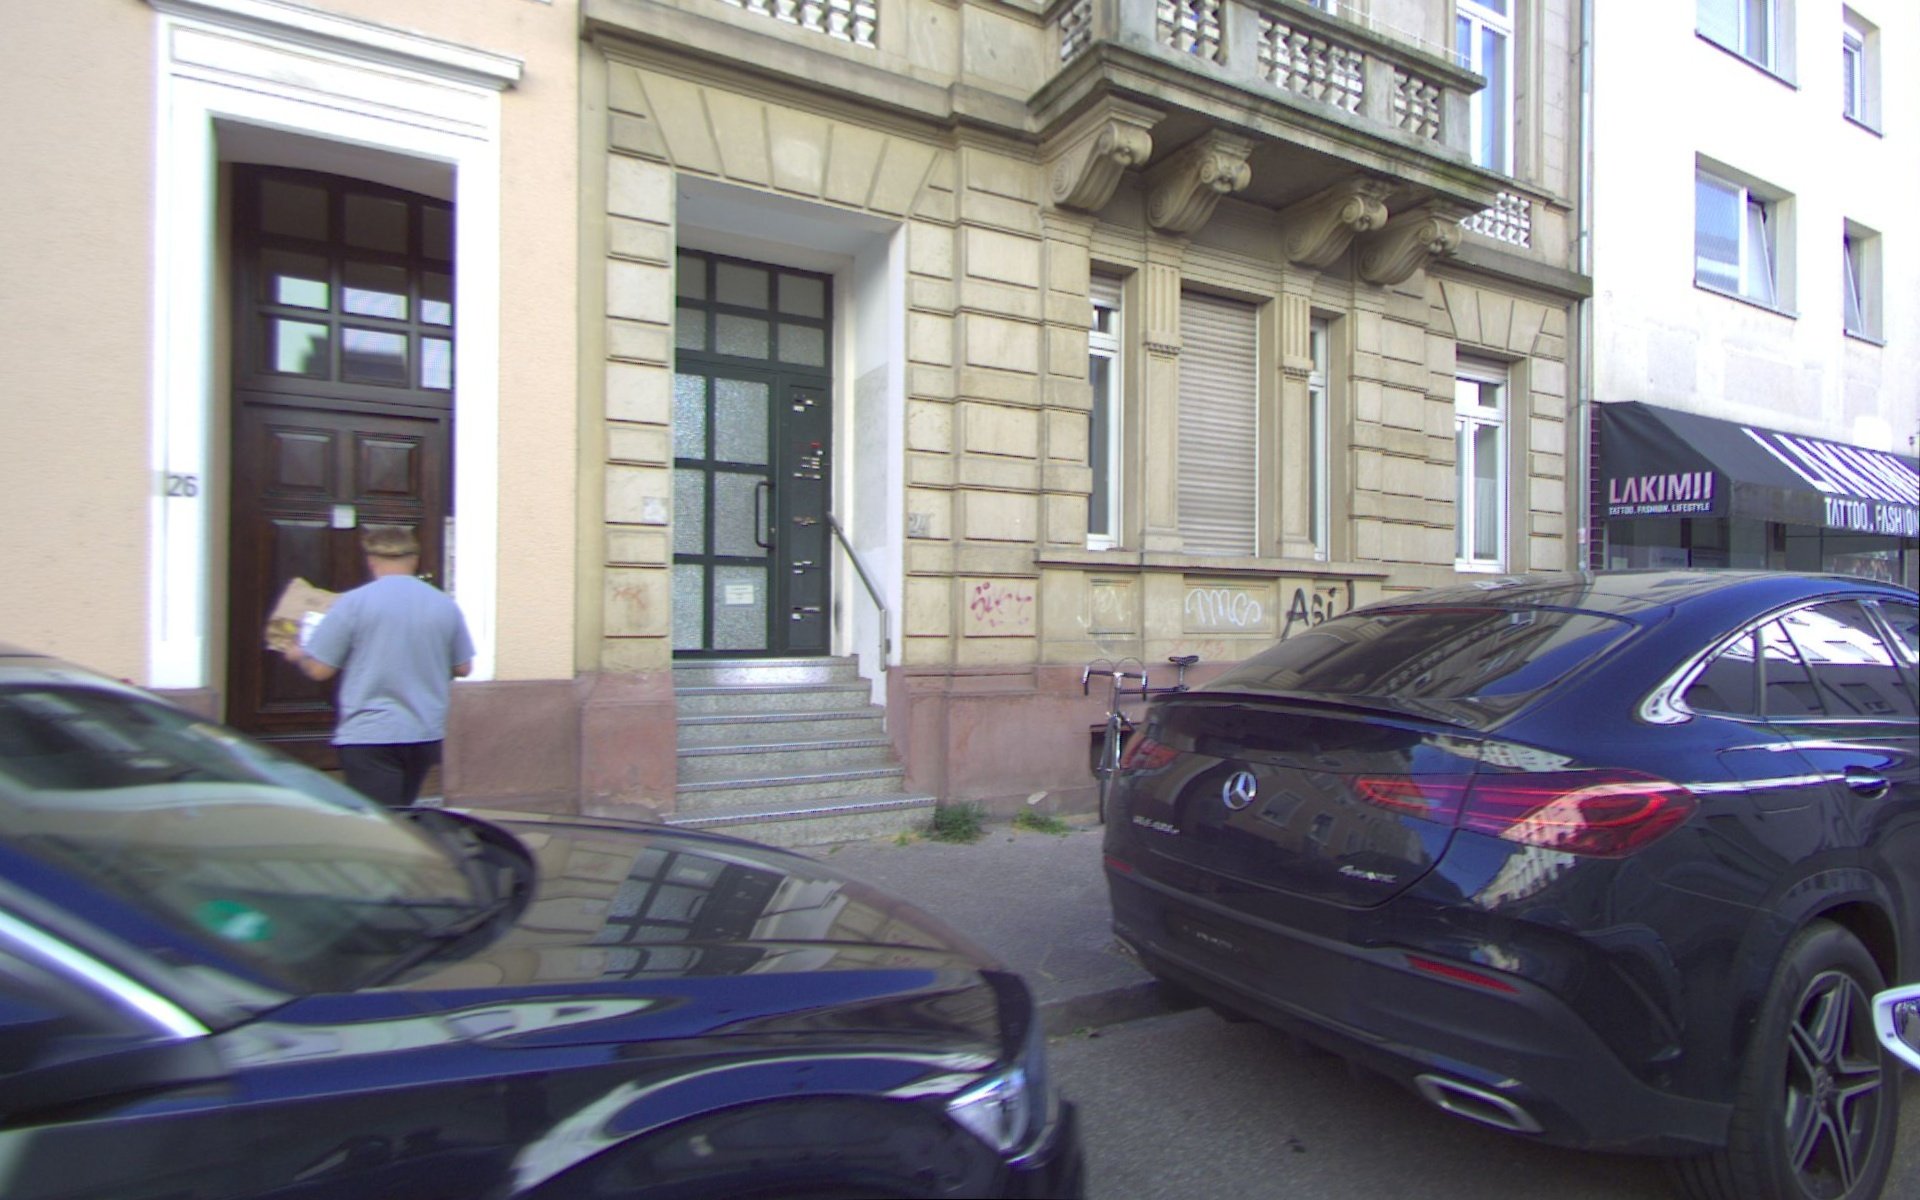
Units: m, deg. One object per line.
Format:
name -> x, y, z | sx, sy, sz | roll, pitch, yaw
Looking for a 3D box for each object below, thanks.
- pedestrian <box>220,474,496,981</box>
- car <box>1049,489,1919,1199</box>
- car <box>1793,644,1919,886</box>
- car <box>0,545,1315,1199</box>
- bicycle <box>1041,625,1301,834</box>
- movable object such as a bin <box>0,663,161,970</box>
pedestrian -> -2.479, 0.486, 4.277 | 0.872, 1.860, 0.863 | 2, -2, -25
car -> 2.992, 0.747, 3.951 | 5.078, 1.759, 1.928 | 1, -2, -29
car -> 7.935, 1.036, 6.847 | 4.758, 1.435, 1.838 | 2, -3, -29
car -> -1.761, 0.748, 1.279 | 4.310, 1.551, 1.707 | 1, -2, -27
bicycle -> 1.476, 0.837, 6.911 | 1.843, 1.294, 0.508 | 2, -2, -27
movable object such as a bin -> -3.792, 0.853, 4.207 | 0.578, 1.147, 0.715 | 2, -2, -32
